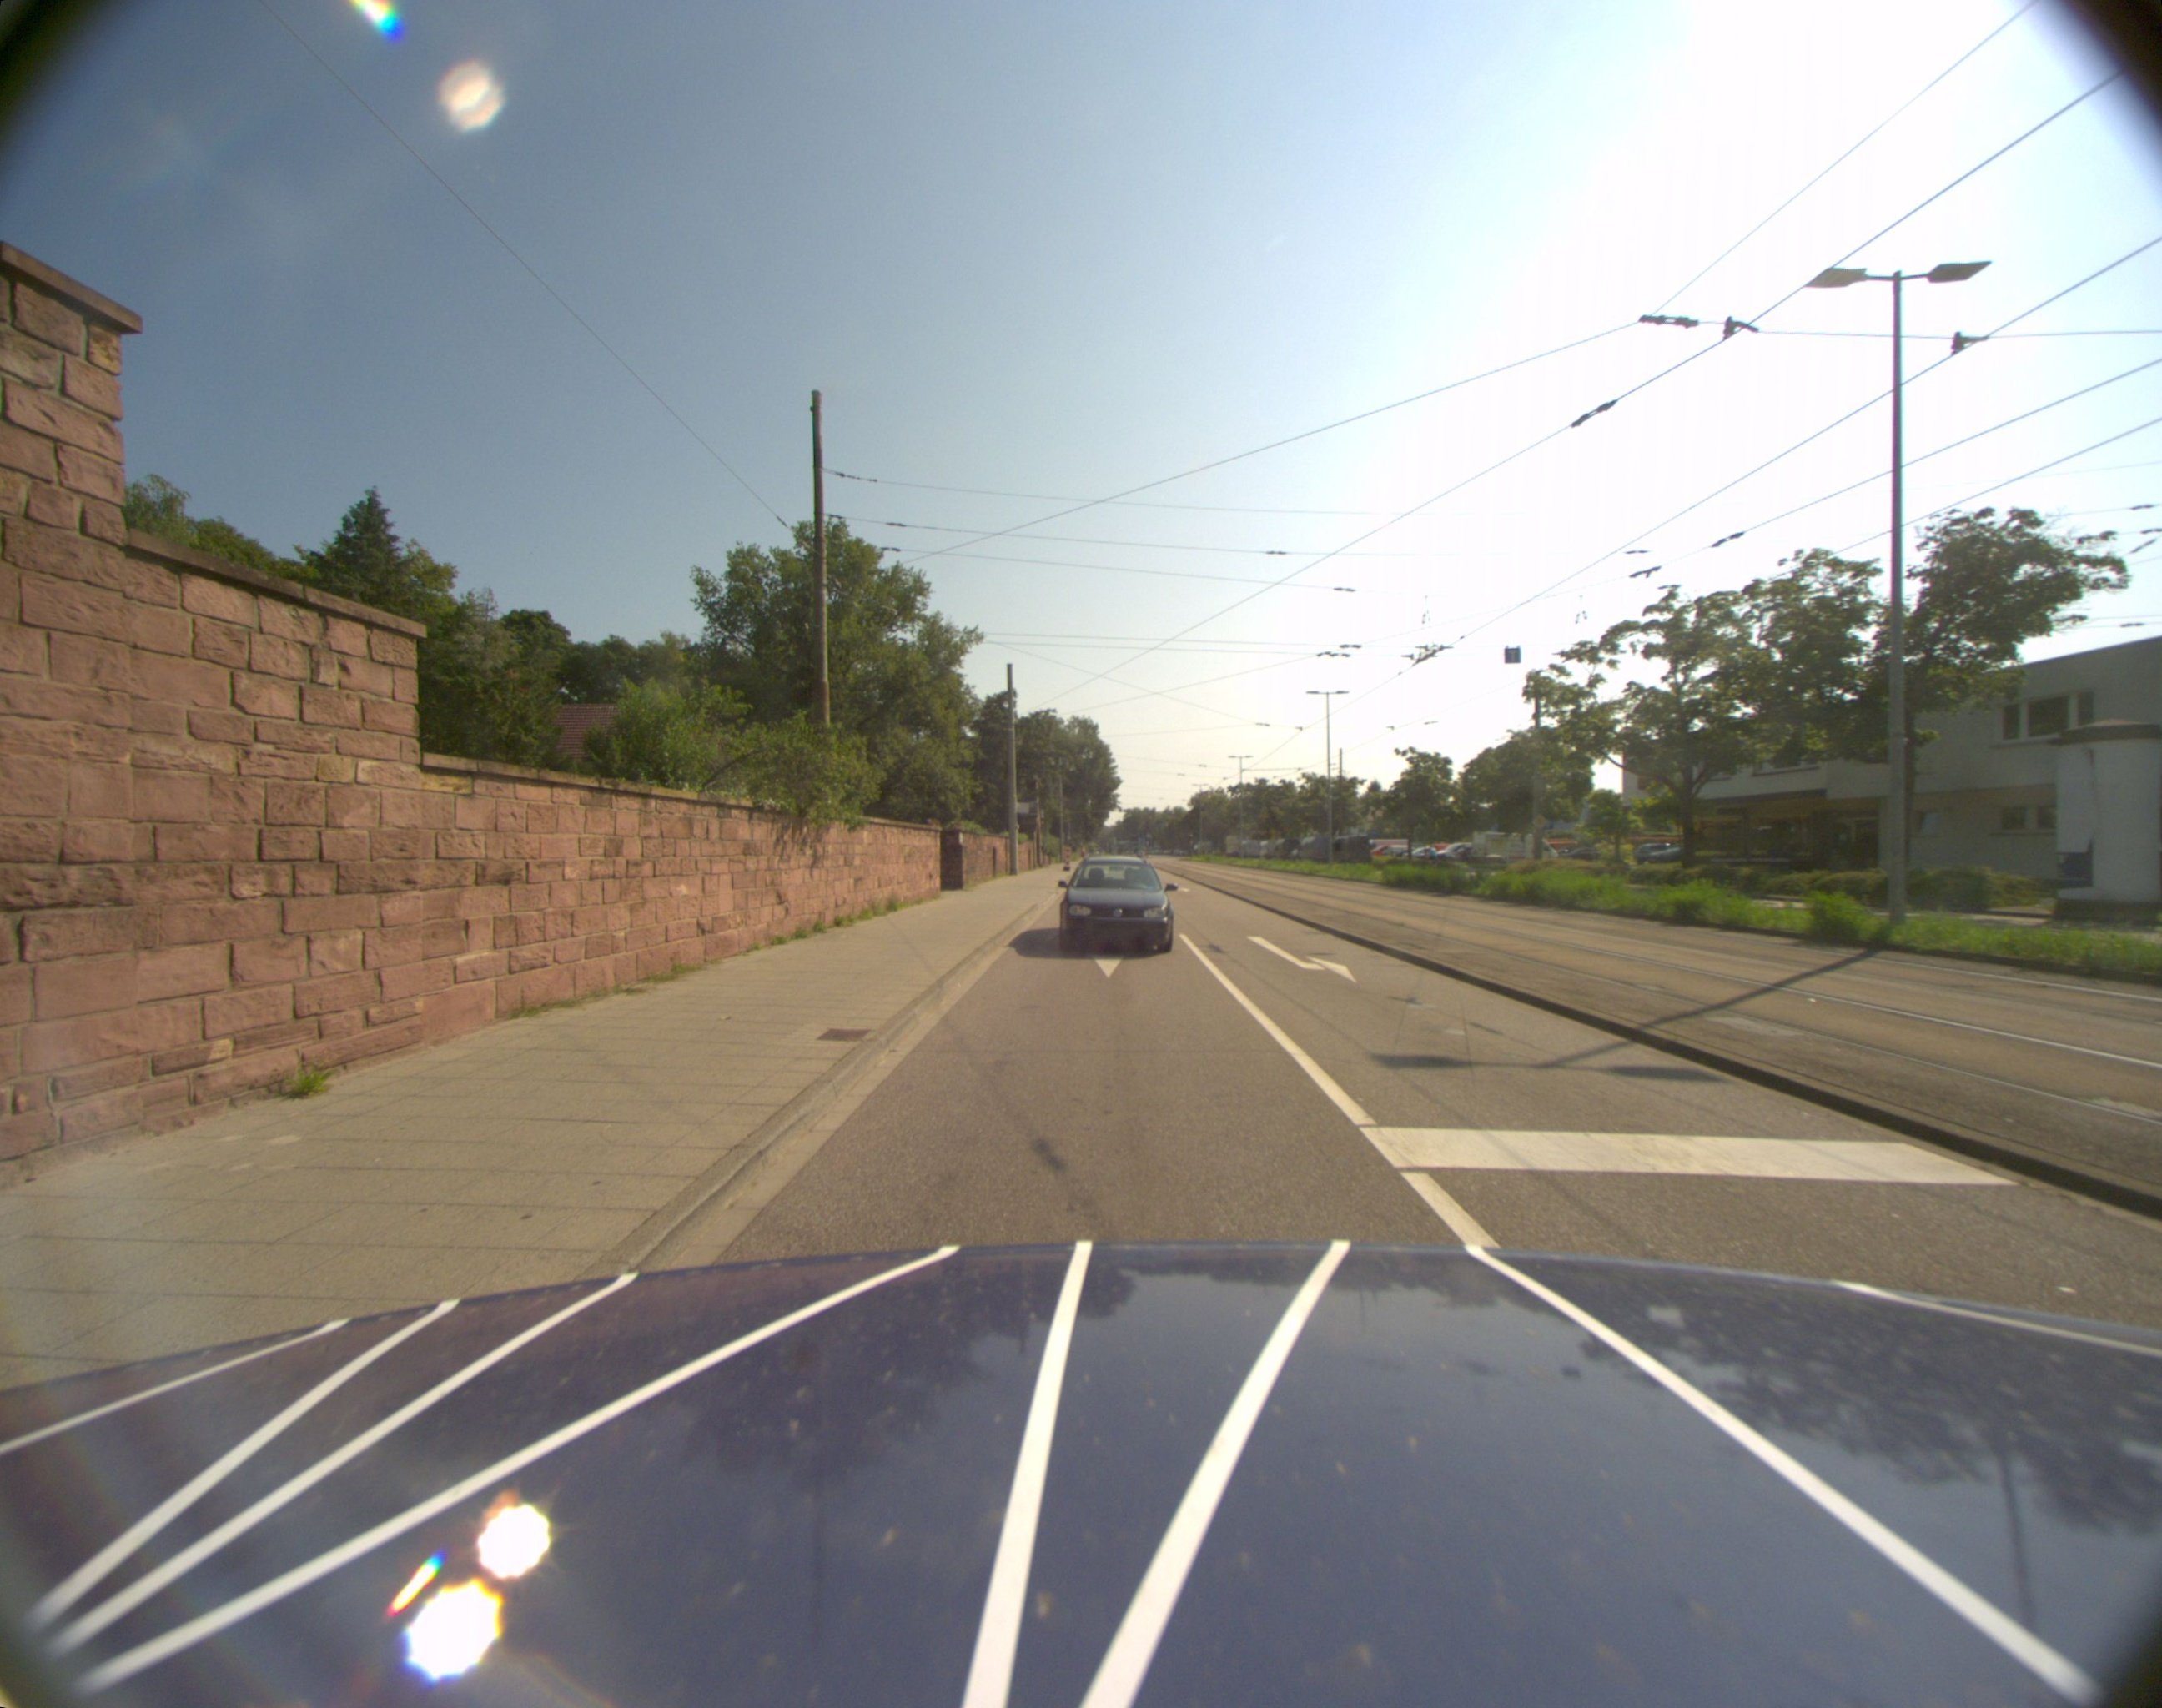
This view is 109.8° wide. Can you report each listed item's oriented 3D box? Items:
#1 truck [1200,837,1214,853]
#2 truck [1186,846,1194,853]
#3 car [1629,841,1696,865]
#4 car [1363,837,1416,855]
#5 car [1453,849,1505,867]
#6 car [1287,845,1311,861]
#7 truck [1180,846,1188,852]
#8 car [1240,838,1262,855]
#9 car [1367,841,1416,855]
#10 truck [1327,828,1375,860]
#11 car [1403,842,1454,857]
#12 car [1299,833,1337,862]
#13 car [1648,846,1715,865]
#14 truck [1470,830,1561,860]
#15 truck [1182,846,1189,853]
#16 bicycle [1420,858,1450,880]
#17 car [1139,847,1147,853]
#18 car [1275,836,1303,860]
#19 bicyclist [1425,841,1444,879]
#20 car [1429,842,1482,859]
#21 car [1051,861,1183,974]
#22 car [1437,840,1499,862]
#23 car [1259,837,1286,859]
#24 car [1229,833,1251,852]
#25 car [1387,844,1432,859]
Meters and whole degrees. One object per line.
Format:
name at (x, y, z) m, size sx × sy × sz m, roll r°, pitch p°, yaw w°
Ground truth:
truck at (26.649, -1.904, 160.852) m, size 2.278 × 3.104 × 8.788 m, roll 1°, pitch 1°, yaw 5°
truck at (27.362, -1.232, 191.036) m, size 1.691 × 1.665 × 3.655 m, roll 1°, pitch 1°, yaw 3°
car at (45.806, -0.104, 59.893) m, size 3.810 × 1.759 × 1.759 m, roll 1°, pitch 1°, yaw 7°
car at (35.097, -0.913, 86.562) m, size 5.197 × 1.915 × 2.052 m, roll 1°, pitch 1°, yaw 1°
car at (32.648, 0.322, 62.408) m, size 3.413 × 1.418 × 1.633 m, roll 1°, pitch 1°, yaw 1°
car at (22.741, -0.131, 79.402) m, size 1.748 × 1.543 × 3.834 m, roll -1°, pitch 1°, yaw 5°
truck at (27.934, -1.377, 205.561) m, size 1.691 × 1.665 × 3.655 m, roll 1°, pitch 1°, yaw 3°
car at (24.107, -1.076, 107.912) m, size 2.148 × 2.444 × 4.831 m, roll 1°, pitch 1°, yaw 1°
car at (34.102, -0.703, 83.409) m, size 4.665 × 1.442 × 1.633 m, roll 1°, pitch 1°, yaw 1°
truck at (22.319, -0.822, 63.120) m, size 2.086 × 2.533 × 5.738 m, roll 1°, pitch 1°, yaw 2°
car at (33.142, -0.425, 72.572) m, size 4.165 × 1.455 × 1.625 m, roll 0°, pitch 1°, yaw 6°
car at (22.732, -0.639, 73.162) m, size 1.992 × 2.571 × 6.467 m, roll -2°, pitch 1°, yaw 4°
car at (44.830, 0.093, 56.783) m, size 3.712 × 1.335 × 1.492 m, roll 0°, pitch 1°, yaw 10°
truck at (32.768, -0.697, 57.472) m, size 5.503 × 2.160 × 2.259 m, roll 1°, pitch 1°, yaw 1°
truck at (27.686, -1.228, 201.355) m, size 1.691 × 1.665 × 3.655 m, roll 1°, pitch 1°, yaw 3°
bicycle at (19.658, 0.819, 42.244) m, size 0.716 × 1.085 × 2.265 m, roll 1°, pitch 1°, yaw 4°
car at (16.582, -1.062, 203.266) m, size 1.726 × 1.317 × 4.000 m, roll 1°, pitch 1°, yaw 2°
car at (23.318, -0.670, 85.488) m, size 1.826 × 2.571 × 5.910 m, roll -2°, pitch 1°, yaw 4°
bicyclist at (19.678, 0.334, 42.305) m, size 0.639 × 2.052 × 0.774 m, roll 1°, pitch 2°, yaw 3°
car at (33.444, -0.323, 67.936) m, size 3.932 × 1.510 × 1.633 m, roll 1°, pitch 1°, yaw 1°
car at (0.600, 0.868, 12.216) m, size 1.775 × 1.416 × 3.935 m, roll 0°, pitch 1°, yaw 3°
car at (33.137, -0.256, 65.180) m, size 4.409 × 1.774 × 1.633 m, roll 1°, pitch 1°, yaw 1°
car at (23.523, -0.762, 93.571) m, size 2.137 × 2.571 × 5.631 m, roll 1°, pitch 1°, yaw 3°
car at (24.581, -1.806, 117.616) m, size 2.129 × 2.789 × 7.231 m, roll 1°, pitch 1°, yaw 3°
car at (33.774, -0.240, 78.228) m, size 3.932 × 1.442 × 1.633 m, roll 1°, pitch 1°, yaw 1°
